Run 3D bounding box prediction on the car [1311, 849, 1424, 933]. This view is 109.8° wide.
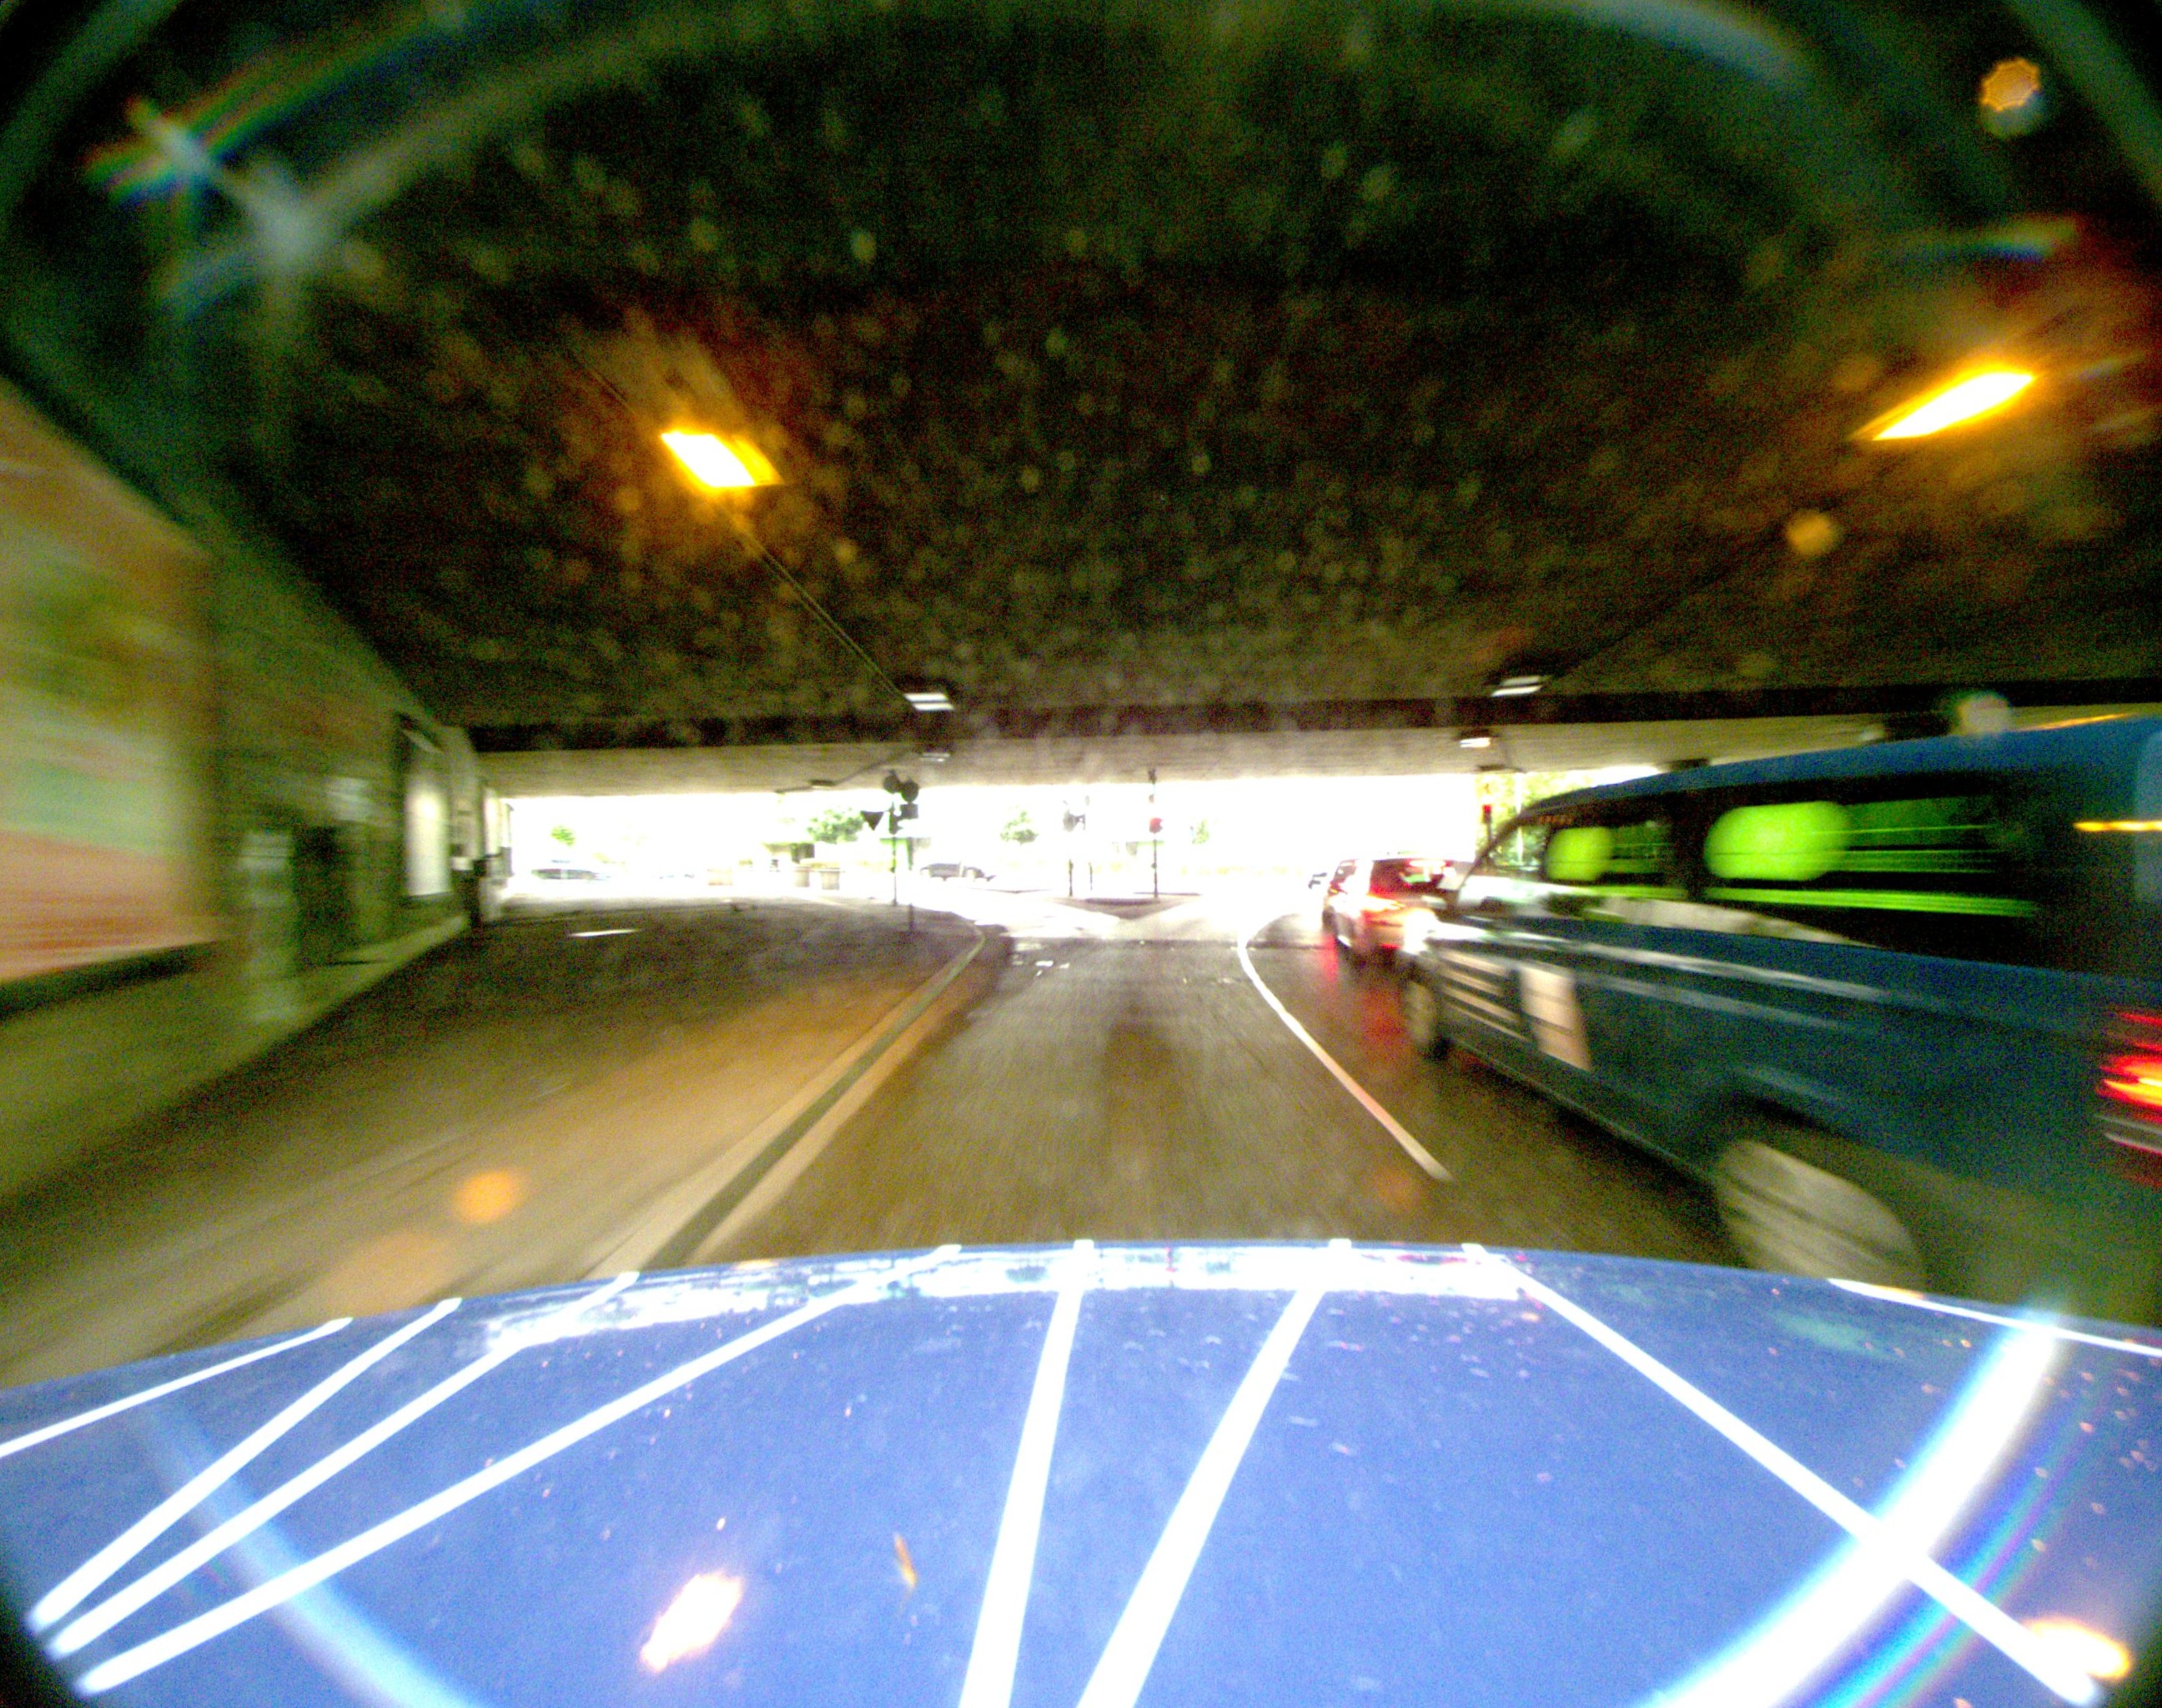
[{"bbox_3d":[6.398,0.715,16.685,1.995,1.521,4.507,-2,0,24],"label":"car"}]

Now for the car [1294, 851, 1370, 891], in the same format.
[{"bbox_3d":[10.377,0.715,31.266,1.703,1.548,4.009,0,-1,38],"label":"car"}]

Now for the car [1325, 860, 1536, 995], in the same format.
[{"bbox_3d":[4.698,0.856,10.891,1.996,1.456,4.109,0,1,14],"label":"car"}]

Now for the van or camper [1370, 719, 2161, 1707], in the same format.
[{"bbox_3d":[3.157,0.646,3.492,1.998,1.857,5.140,0,1,4],"label":"van or camper"}]

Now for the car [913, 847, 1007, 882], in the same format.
[{"bbox_3d":[-5.904,0.484,37.172,4.224,1.571,1.772,1,3,21],"label":"car"}]

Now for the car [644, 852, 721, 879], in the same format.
[{"bbox_3d":[-23.487,0.670,44.866,3.627,1.548,1.645,1,-1,-3],"label":"car"}]
